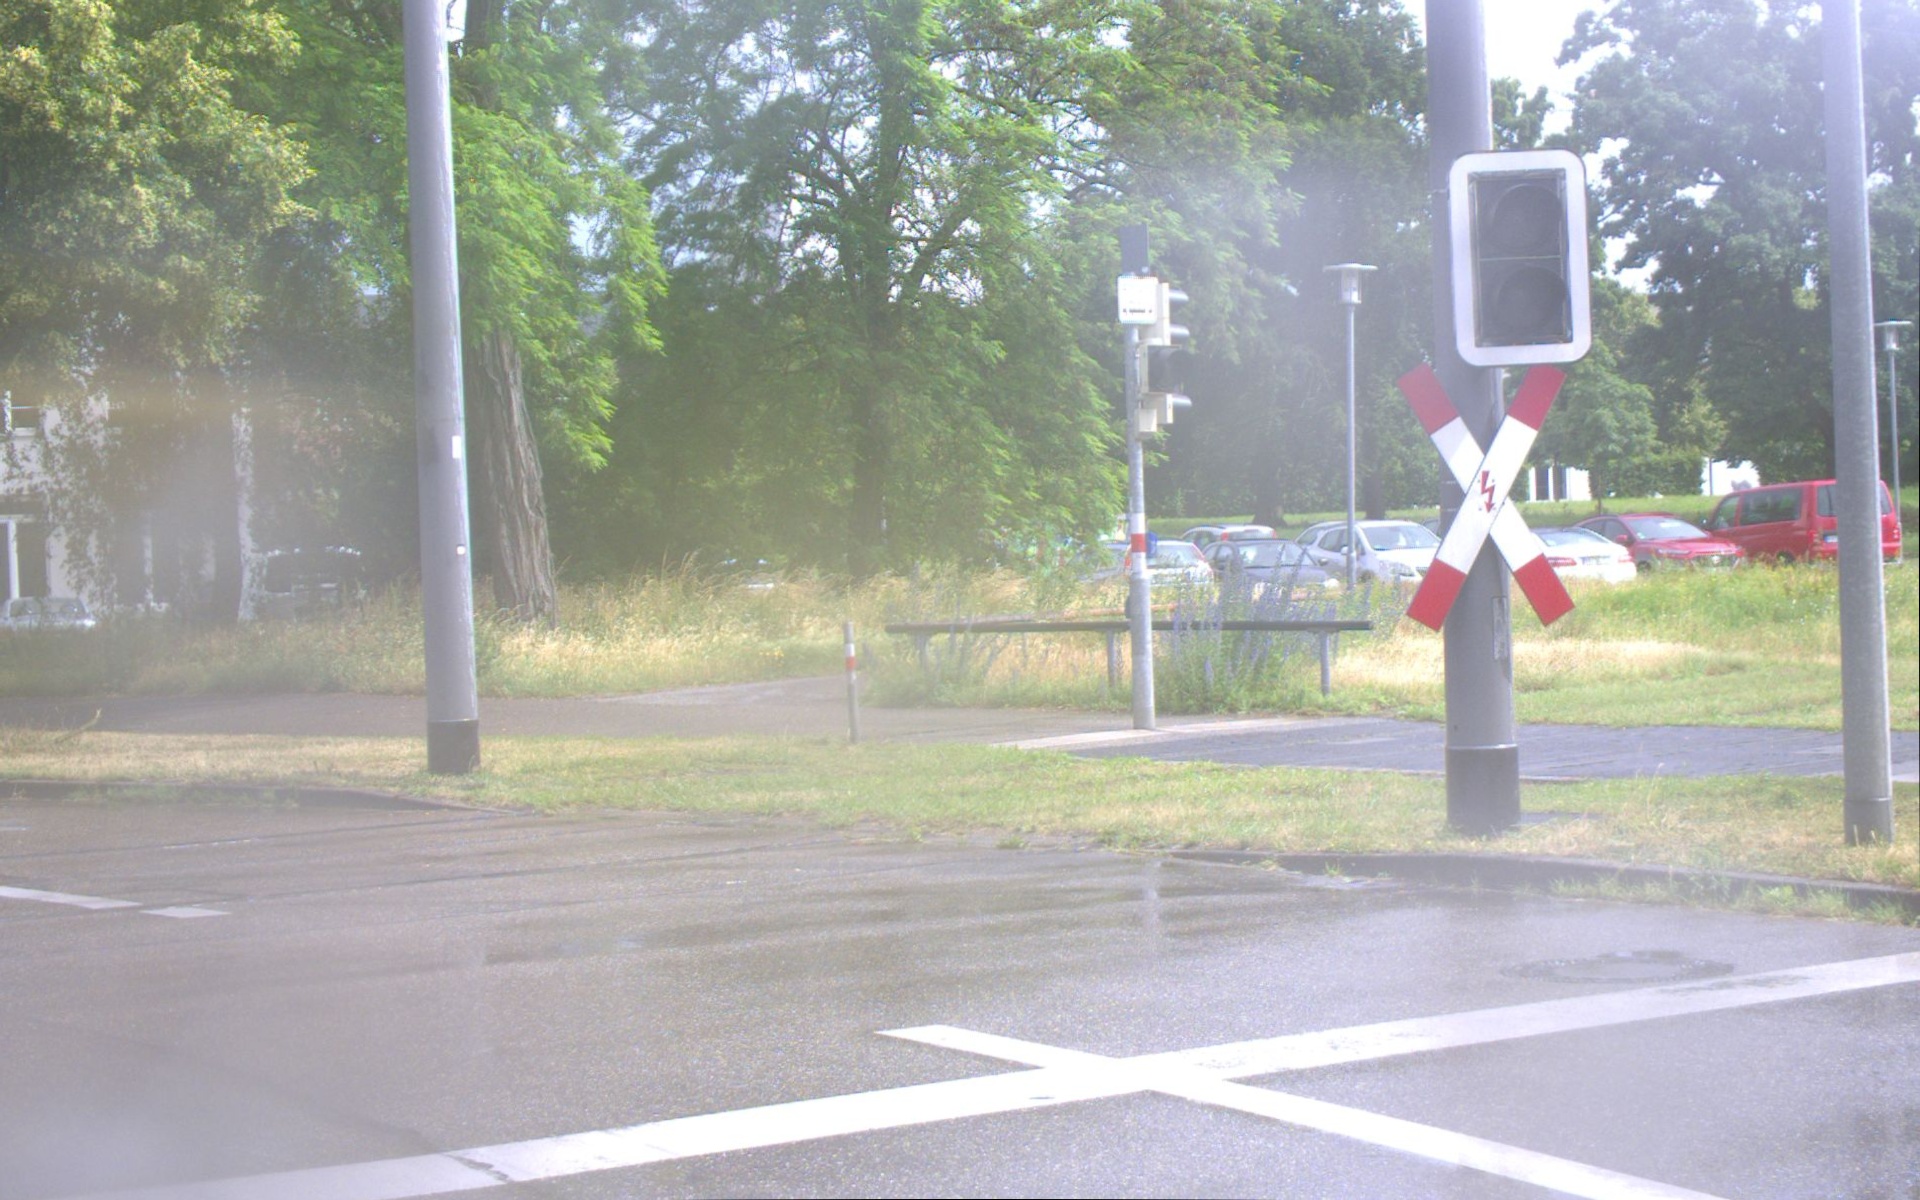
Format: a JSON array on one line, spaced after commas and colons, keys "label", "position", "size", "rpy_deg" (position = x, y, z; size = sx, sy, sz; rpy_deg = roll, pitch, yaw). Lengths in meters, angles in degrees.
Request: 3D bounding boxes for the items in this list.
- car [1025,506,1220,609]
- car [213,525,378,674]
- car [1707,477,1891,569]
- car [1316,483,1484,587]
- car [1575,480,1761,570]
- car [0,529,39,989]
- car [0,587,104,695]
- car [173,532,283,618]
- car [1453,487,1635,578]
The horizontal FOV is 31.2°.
[{"label": "car", "position": [2.613, -0.686, 56.182], "size": [1.844, 1.554, 3.980], "rpy_deg": [-2, 1, -18]}, {"label": "car", "position": [-10.308, -0.074, 53.069], "size": [2.106, 2.050, 5.163], "rpy_deg": [-3, 2, -14]}, {"label": "car", "position": [14.678, -1.334, 60.316], "size": [1.644, 1.505, 3.651], "rpy_deg": [-3, 1, -13]}, {"label": "car", "position": [7.458, -1.102, 58.600], "size": [1.544, 1.653, 3.651], "rpy_deg": [-3, 1, -14]}, {"label": "car", "position": [12.242, -1.282, 59.656], "size": [1.639, 1.457, 3.612], "rpy_deg": [-2, 1, -15]}, {"label": "car", "position": [-4.878, 0.595, 13.650], "size": [1.897, 1.612, 4.001], "rpy_deg": [-4, 2, -20]}, {"label": "car", "position": [-13.783, 0.591, 51.777], "size": [1.603, 1.504, 3.622], "rpy_deg": [-2, 1, -15]}, {"label": "car", "position": [-13.599, -0.489, 63.742], "size": [1.657, 1.341, 3.583], "rpy_deg": [-3, 4, -17]}, {"label": "car", "position": [9.923, -1.144, 58.638], "size": [1.639, 1.457, 3.612], "rpy_deg": [-2, 1, -15]}]
